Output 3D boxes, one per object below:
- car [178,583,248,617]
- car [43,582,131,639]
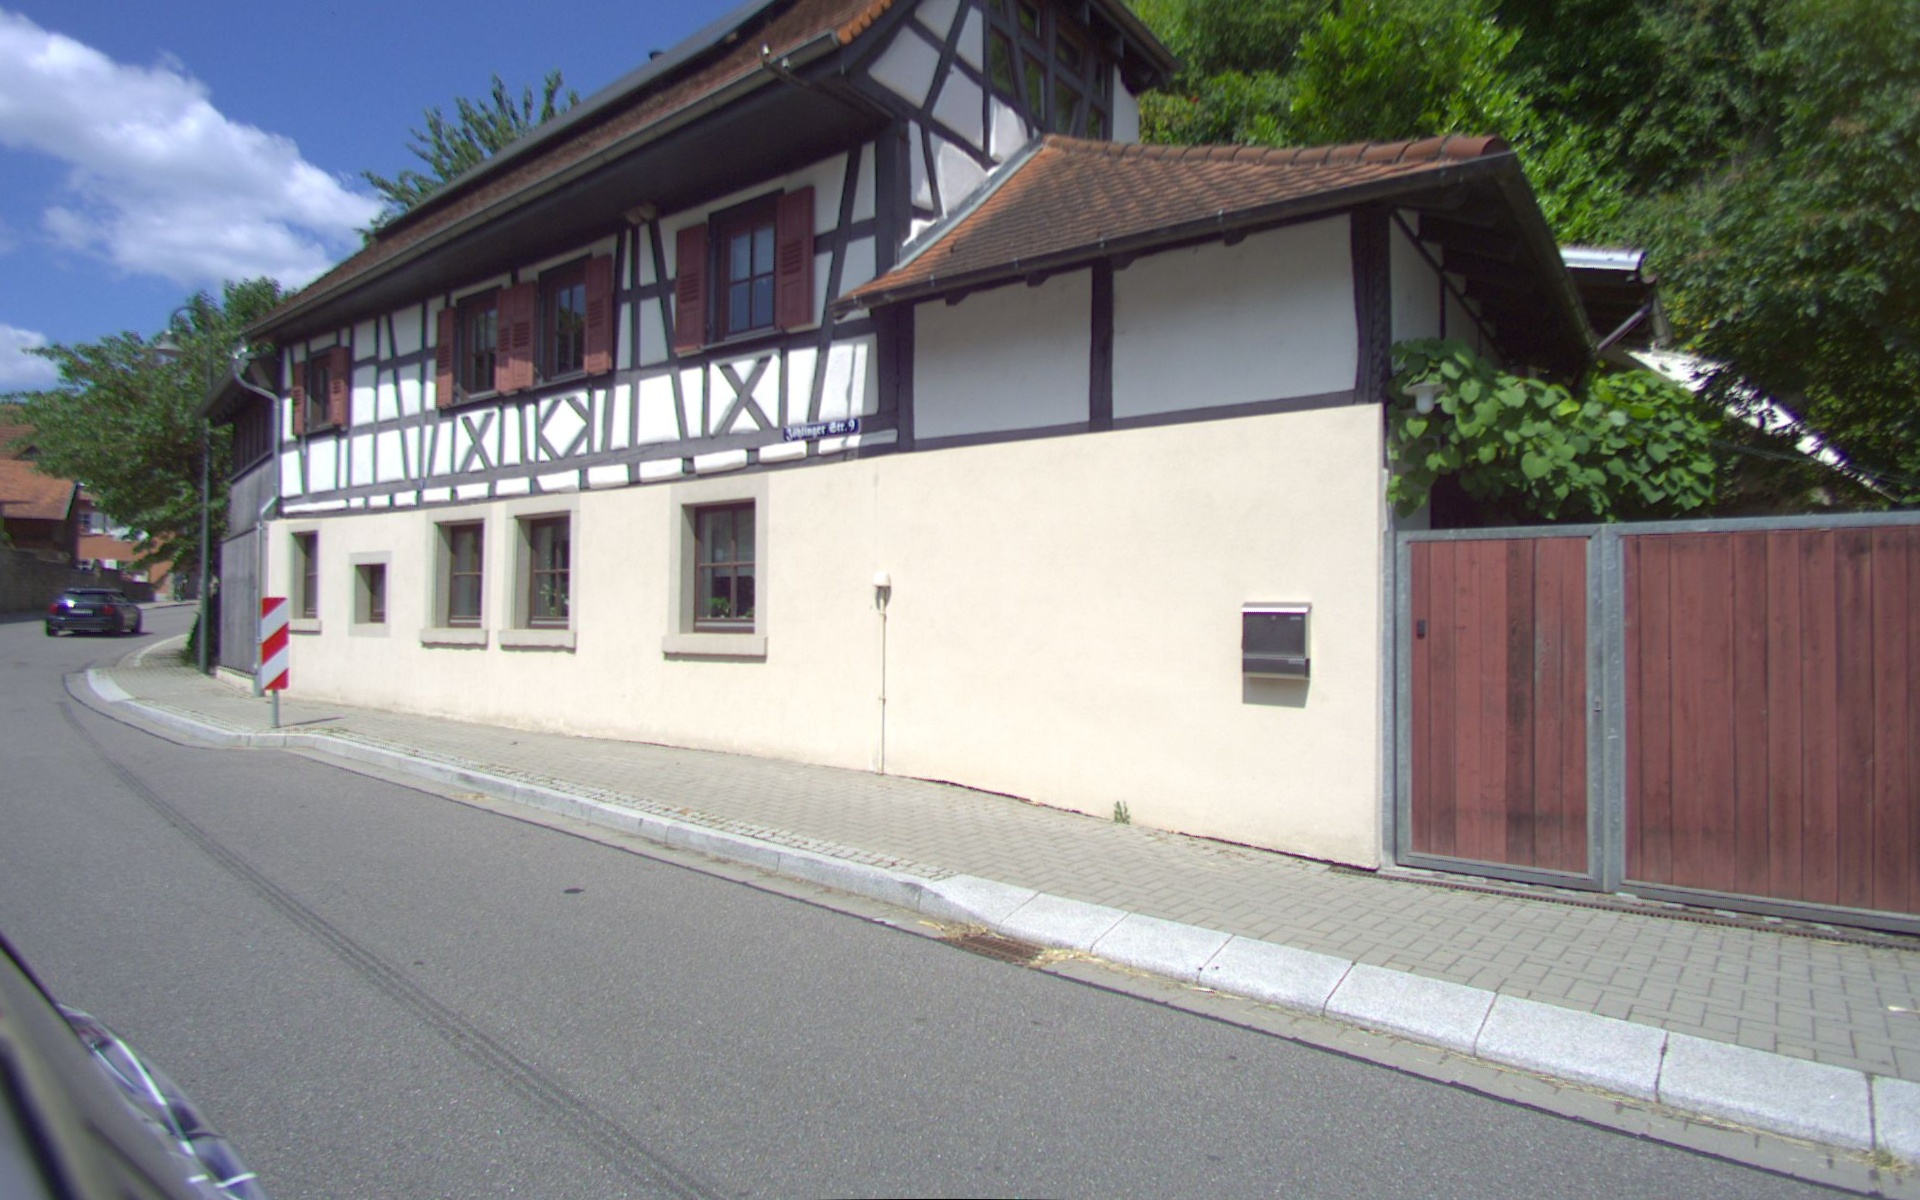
[{"bbox_3d":[-36.222,0.033,49.202,1.868,1.512,4.629,2,-1,-26],"label":"car"},{"bbox_3d":[-26.456,0.287,30.786,1.676,1.476,4.445,3,0,-37],"label":"car"}]
